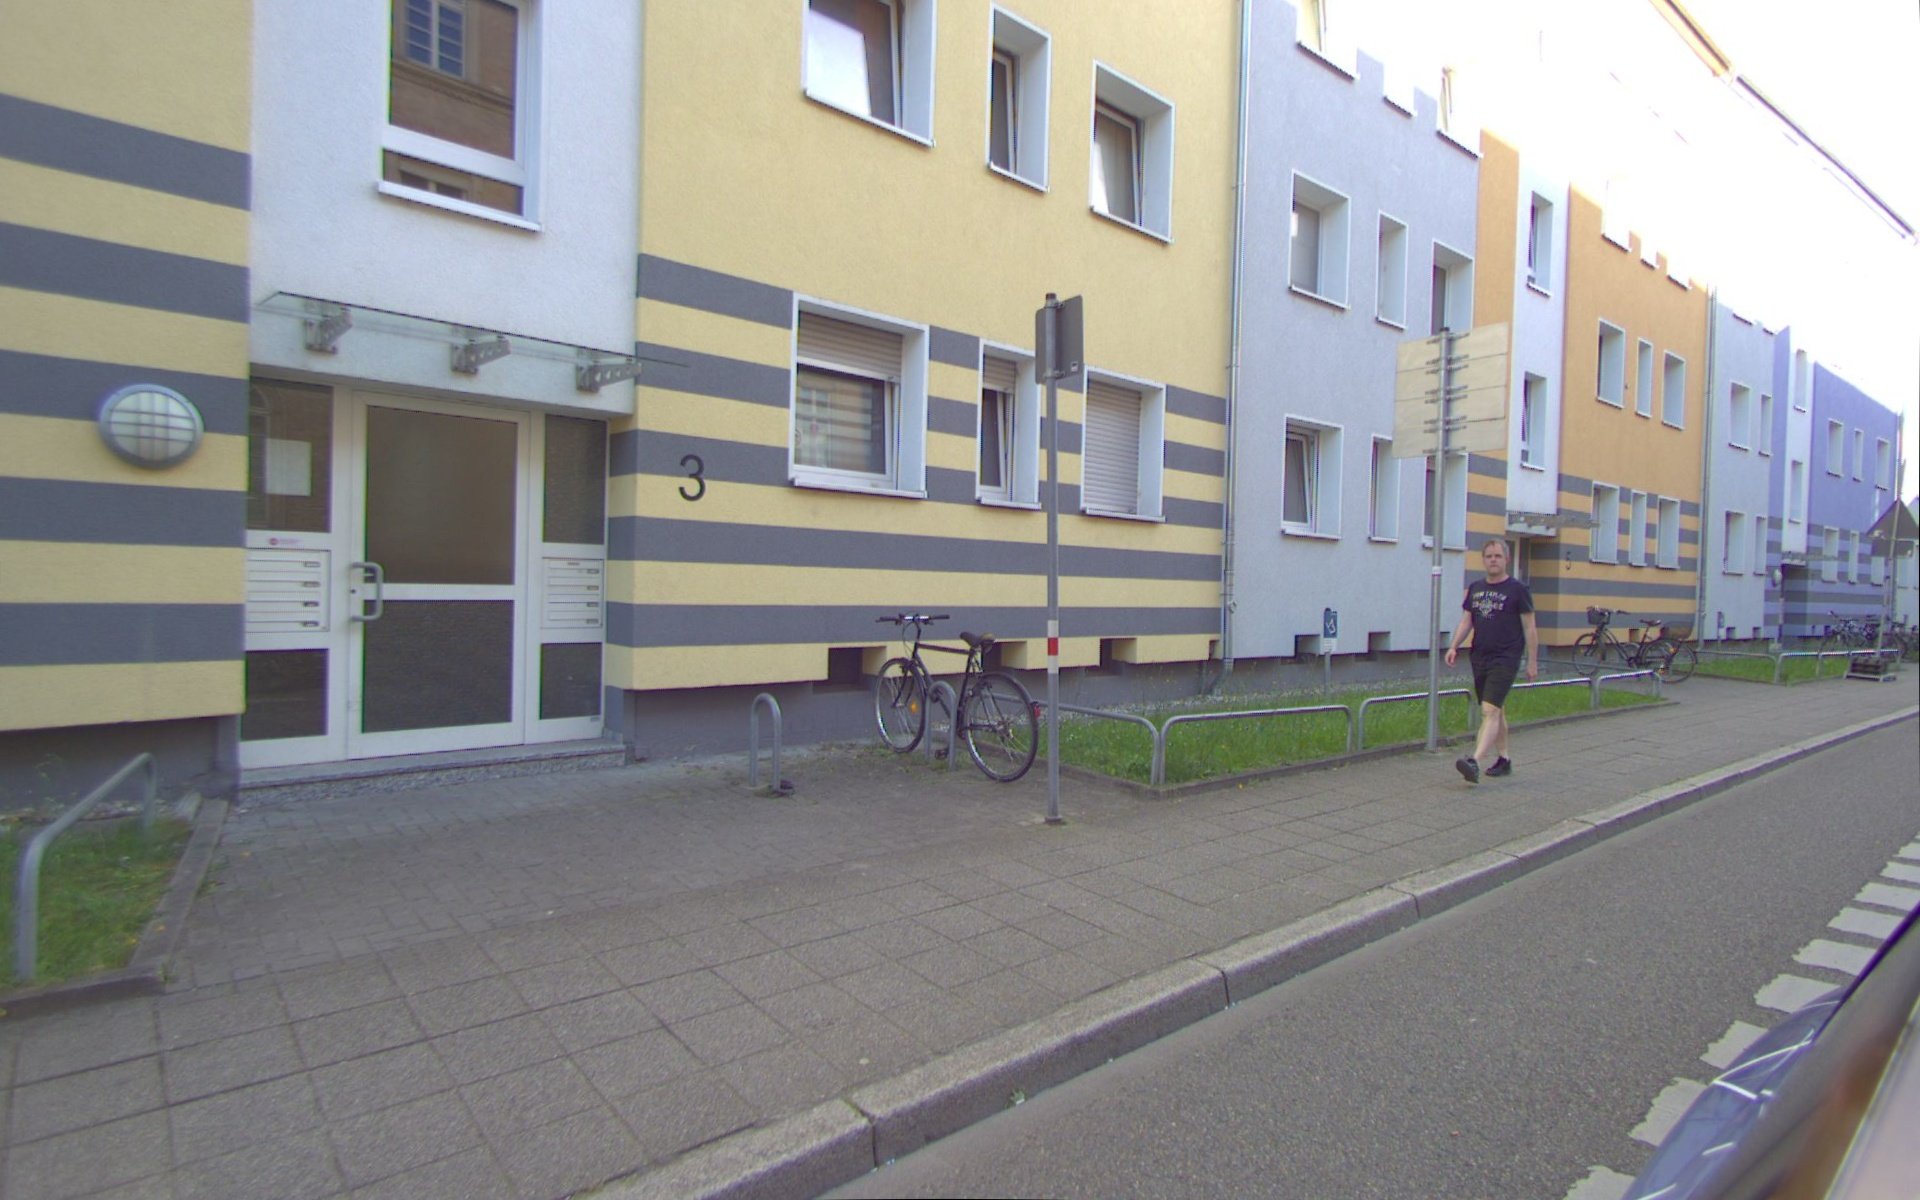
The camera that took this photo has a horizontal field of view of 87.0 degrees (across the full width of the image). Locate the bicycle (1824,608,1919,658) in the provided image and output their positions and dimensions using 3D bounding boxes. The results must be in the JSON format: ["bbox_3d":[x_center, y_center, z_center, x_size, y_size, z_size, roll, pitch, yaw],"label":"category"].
[{"bbox_3d":[22.290,0.780,24.682,0.624,1.058,1.711,1,2,-39],"label":"bicycle"}]

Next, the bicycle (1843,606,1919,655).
[{"bbox_3d":[23.259,0.752,25.277,0.625,1.095,1.711,1,2,-40],"label":"bicycle"}]

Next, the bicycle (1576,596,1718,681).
[{"bbox_3d":[10.751,0.570,15.878,0.625,1.173,1.709,1,3,-42],"label":"bicycle"}]

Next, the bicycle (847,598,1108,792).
[{"bbox_3d":[0.055,0.576,7.059,0.625,1.074,1.946,1,3,-42],"label":"bicycle"}]

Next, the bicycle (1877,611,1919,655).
[{"bbox_3d":[24.177,0.843,25.351,0.625,1.048,1.709,1,3,-42],"label":"bicycle"}]

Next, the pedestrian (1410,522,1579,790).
[{"bbox_3d":[3.901,0.371,7.389,0.898,1.810,0.646,1,4,-38],"label":"pedestrian"}]
